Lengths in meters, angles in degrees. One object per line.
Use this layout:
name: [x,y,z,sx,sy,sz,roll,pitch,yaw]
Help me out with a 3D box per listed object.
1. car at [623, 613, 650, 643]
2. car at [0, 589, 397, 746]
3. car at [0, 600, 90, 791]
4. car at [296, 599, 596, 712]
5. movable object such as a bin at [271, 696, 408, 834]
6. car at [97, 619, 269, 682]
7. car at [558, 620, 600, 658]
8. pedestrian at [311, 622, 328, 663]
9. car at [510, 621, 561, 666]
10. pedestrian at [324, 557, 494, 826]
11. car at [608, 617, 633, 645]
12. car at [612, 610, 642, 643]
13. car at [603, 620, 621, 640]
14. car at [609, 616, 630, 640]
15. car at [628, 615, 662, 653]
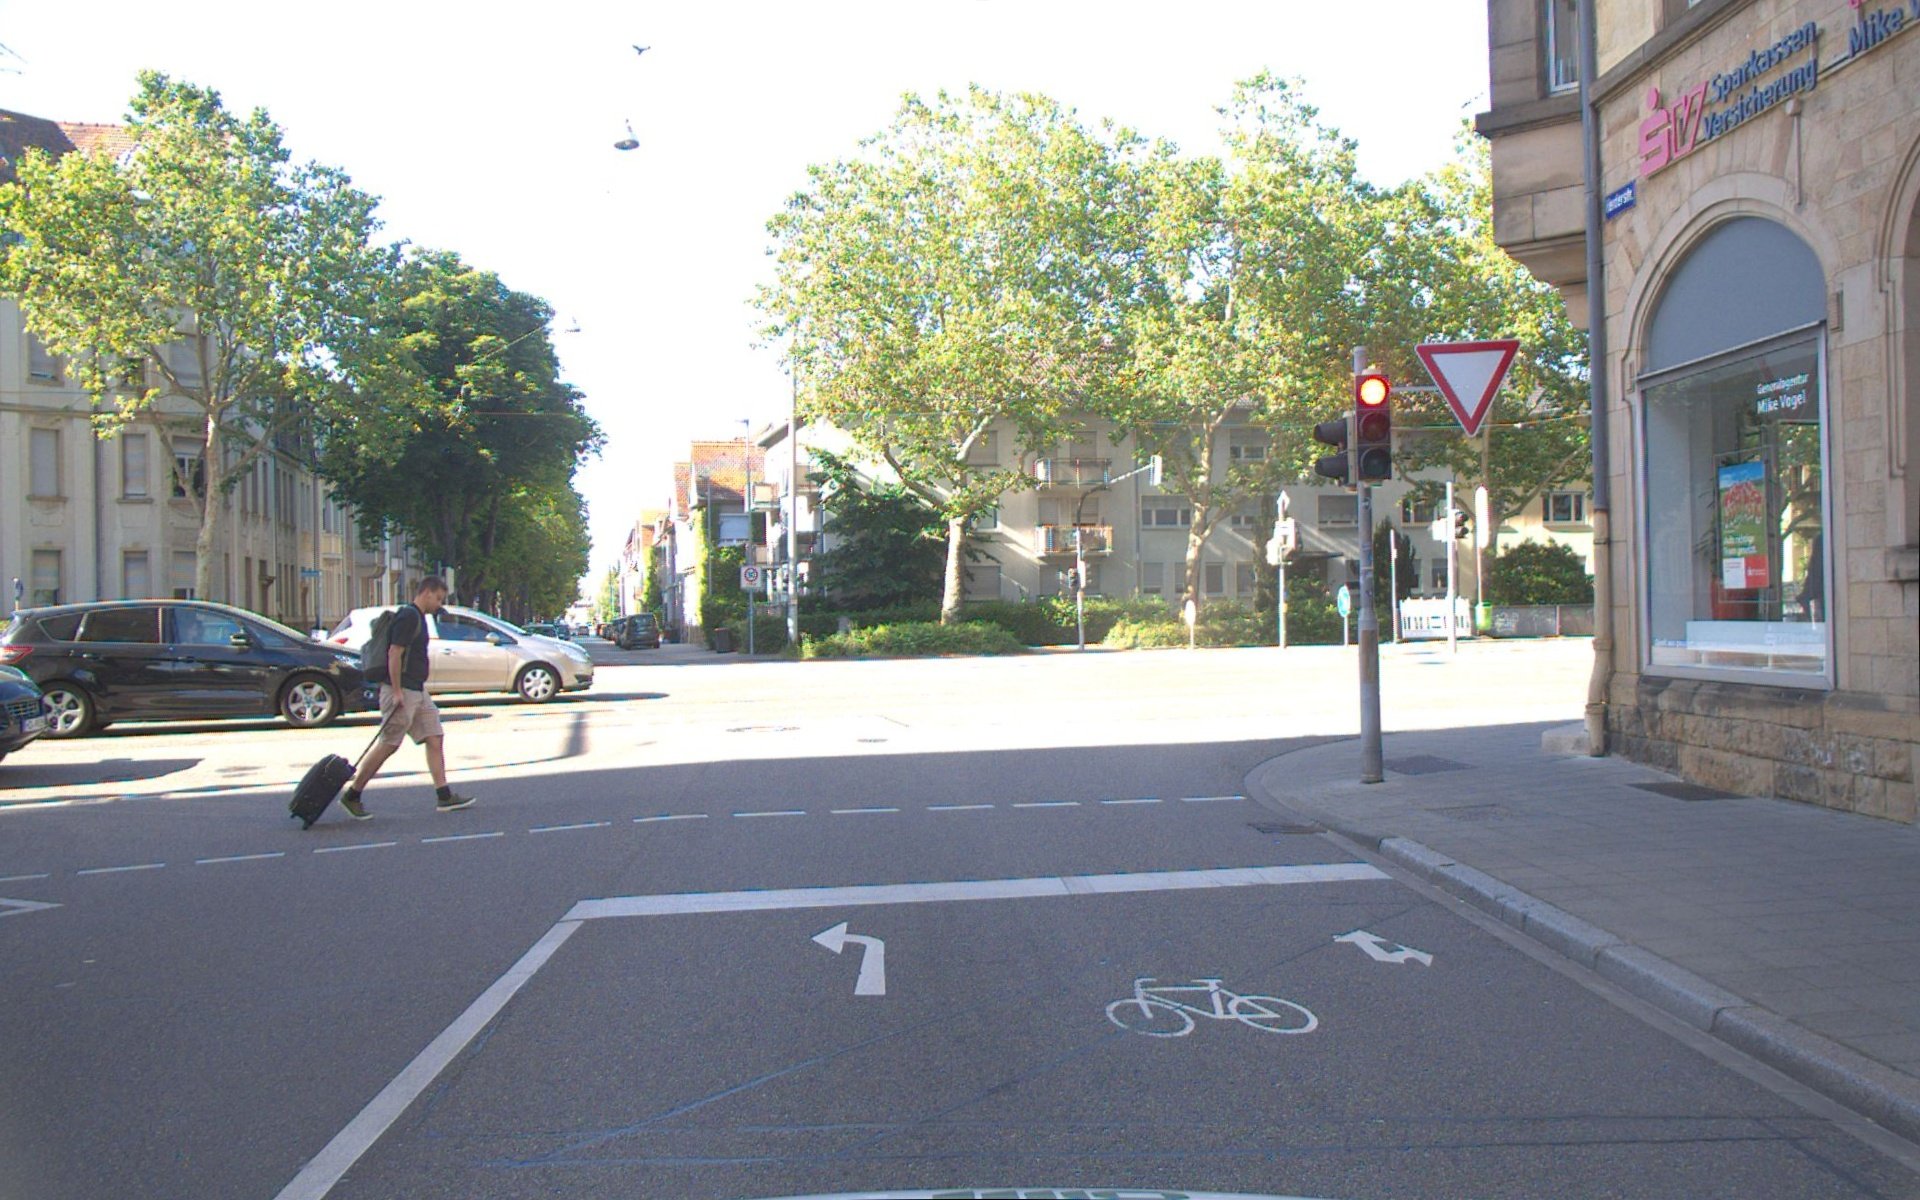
car: [-22.484,1.922,114.891,1.742,1.952,3.523,-3,0,-12]
car: [-9.657,0.805,21.045,4.587,1.693,1.722,-2,0,-17]
car: [-11.017,0.908,15.491,4.608,1.723,2.074,-1,0,-10]
car: [-7.599,0.782,24.778,4.131,1.482,1.672,-1,1,-15]
movable object such as a bin: [-4.487,1.181,12.003,0.847,0.907,0.508,-2,0,-13]
car: [-19.212,1.233,41.048,3.728,1.425,1.635,-1,0,-22]
car: [-16.541,1.666,71.927,1.669,1.509,3.523,-3,1,-12]
pedestrian: [-22.853,1.518,59.056,0.480,1.467,0.702,1,-1,-17]
car: [-16.166,1.632,63.088,1.669,1.509,3.523,-3,1,-12]
pedestrian: [-4.098,0.655,12.372,1.047,1.880,0.746,-3,0,-13]
car: [-26.228,2.377,127.720,1.742,1.952,3.523,-3,0,-12]
car: [-21.009,1.649,104.300,1.742,1.952,3.523,-3,0,-12]
car: [-37.929,3.246,180.195,1.742,1.952,3.523,-3,0,-12]
car: [-30.040,2.443,145.946,1.742,1.952,3.523,-3,0,-12]
car: [-17.976,1.913,94.227,1.742,1.952,3.523,-3,0,-12]
